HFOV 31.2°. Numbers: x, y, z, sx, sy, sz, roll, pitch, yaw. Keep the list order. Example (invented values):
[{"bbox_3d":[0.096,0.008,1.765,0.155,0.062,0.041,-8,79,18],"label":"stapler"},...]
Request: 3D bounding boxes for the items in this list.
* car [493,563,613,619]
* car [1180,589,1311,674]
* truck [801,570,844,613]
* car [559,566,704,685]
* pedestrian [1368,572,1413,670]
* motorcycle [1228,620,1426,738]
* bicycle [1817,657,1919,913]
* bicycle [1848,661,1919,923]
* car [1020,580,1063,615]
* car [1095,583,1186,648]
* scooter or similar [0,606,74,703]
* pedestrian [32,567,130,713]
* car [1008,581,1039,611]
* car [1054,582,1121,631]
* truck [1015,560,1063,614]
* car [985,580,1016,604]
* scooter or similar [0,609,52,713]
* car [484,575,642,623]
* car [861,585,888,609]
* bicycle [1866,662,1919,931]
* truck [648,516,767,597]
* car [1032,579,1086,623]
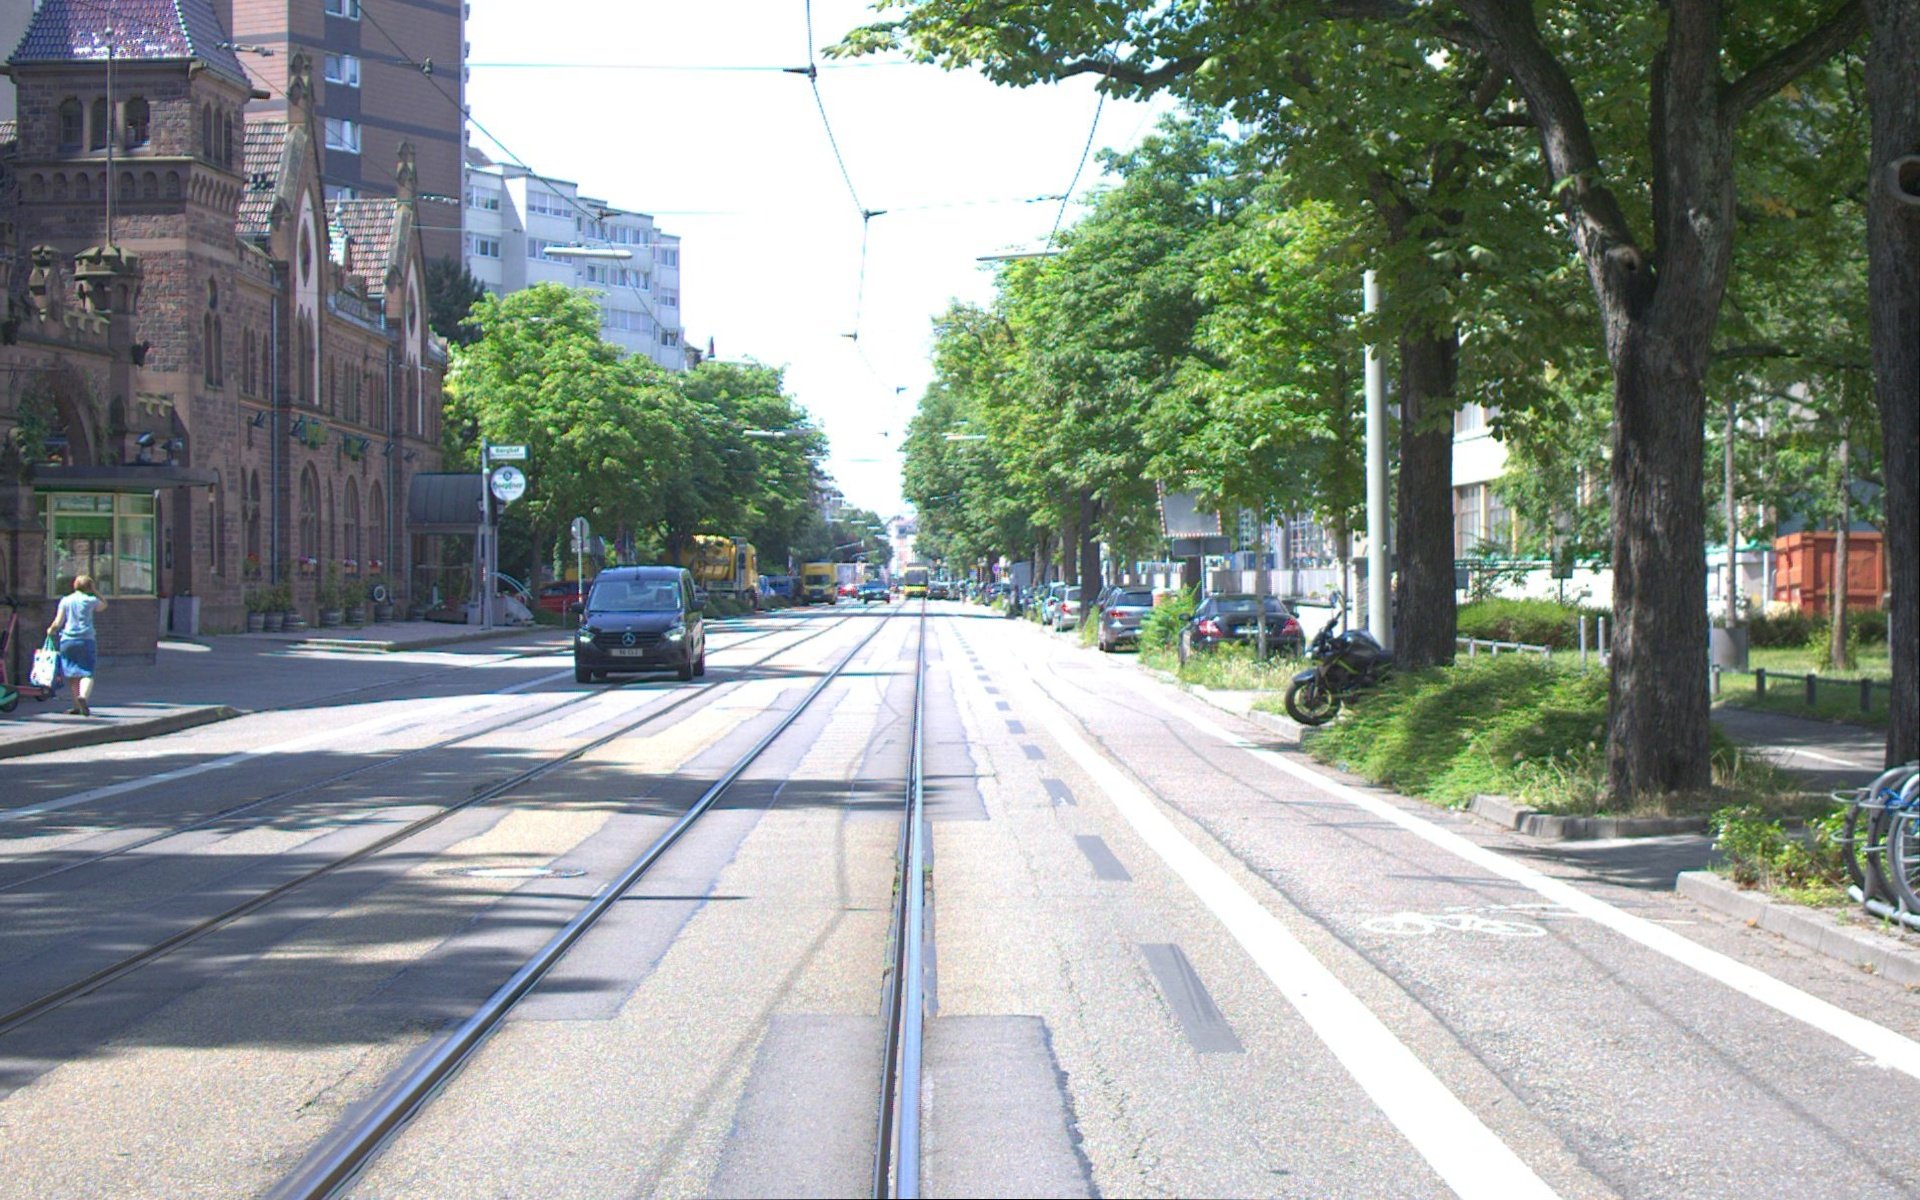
[{"bbox_3d":[-19.701,-0.425,166.692,2.182,2.557,6.712,0,-1,30],"label":"car"},{"bbox_3d":[4.541,0.479,55.057,1.751,1.266,3.833,1,0,0],"label":"car"},{"bbox_3d":[-9.192,-0.581,230.883,2.360,2.843,7.377,-1,0,1],"label":"truck"},{"bbox_3d":[-5.163,0.373,54.482,1.904,1.782,4.255,-1,0,0],"label":"car"},{"bbox_3d":[7.039,0.342,56.209,0.618,1.568,0.611,-2,0,0],"label":"pedestrian"},{"bbox_3d":[3.827,0.818,35.973,2.060,1.208,0.611,-1,-1,39],"label":"motorcycle"},{"bbox_3d":[4.811,0.806,15.403,1.807,1.107,0.449,-1,0,-3],"label":"bicycle"},{"bbox_3d":[4.827,0.809,14.972,1.807,1.107,0.395,-1,0,-3],"label":"bicycle"},{"bbox_3d":[3.603,-0.116,151.155,1.824,1.466,4.400,0,0,2],"label":"car"},{"bbox_3d":[4.026,0.330,77.255,1.671,1.403,4.749,0,0,-1],"label":"car"},{"bbox_3d":[-11.055,0.640,40.744,0.329,1.123,1.221,1,0,28],"label":"scooter or similar"},{"bbox_3d":[-9.826,0.441,38.462,0.799,1.583,0.919,3,0,0],"label":"pedestrian"},{"bbox_3d":[3.355,-0.230,181.269,1.644,1.529,3.785,0,0,1],"label":"car"},{"bbox_3d":[3.963,0.190,107.350,1.671,1.494,4.366,0,0,-3],"label":"car"},{"bbox_3d":[3.694,-0.616,161.800,2.014,2.480,5.956,0,0,-1],"label":"truck"},{"bbox_3d":[2.537,-0.488,215.073,1.639,1.480,3.873,-1,0,-3],"label":"car"},{"bbox_3d":[-10.496,0.658,37.289,0.348,1.123,1.222,1,-1,43],"label":"scooter or similar"},{"bbox_3d":[-13.022,-0.040,112.838,4.764,1.561,2.002,0,0,-28],"label":"car"},{"bbox_3d":[-6.096,-0.200,245.096,1.831,1.675,4.184,-1,0,0],"label":"car"},{"bbox_3d":[4.803,0.806,14.572,1.807,1.107,0.395,-1,0,-3],"label":"bicycle"},{"bbox_3d":[-12.770,-2.172,174.898,2.717,3.829,10.956,1,0,14],"label":"truck"},{"bbox_3d":[3.456,0.025,120.539,1.671,1.512,4.202,0,0,-1],"label":"car"}]
